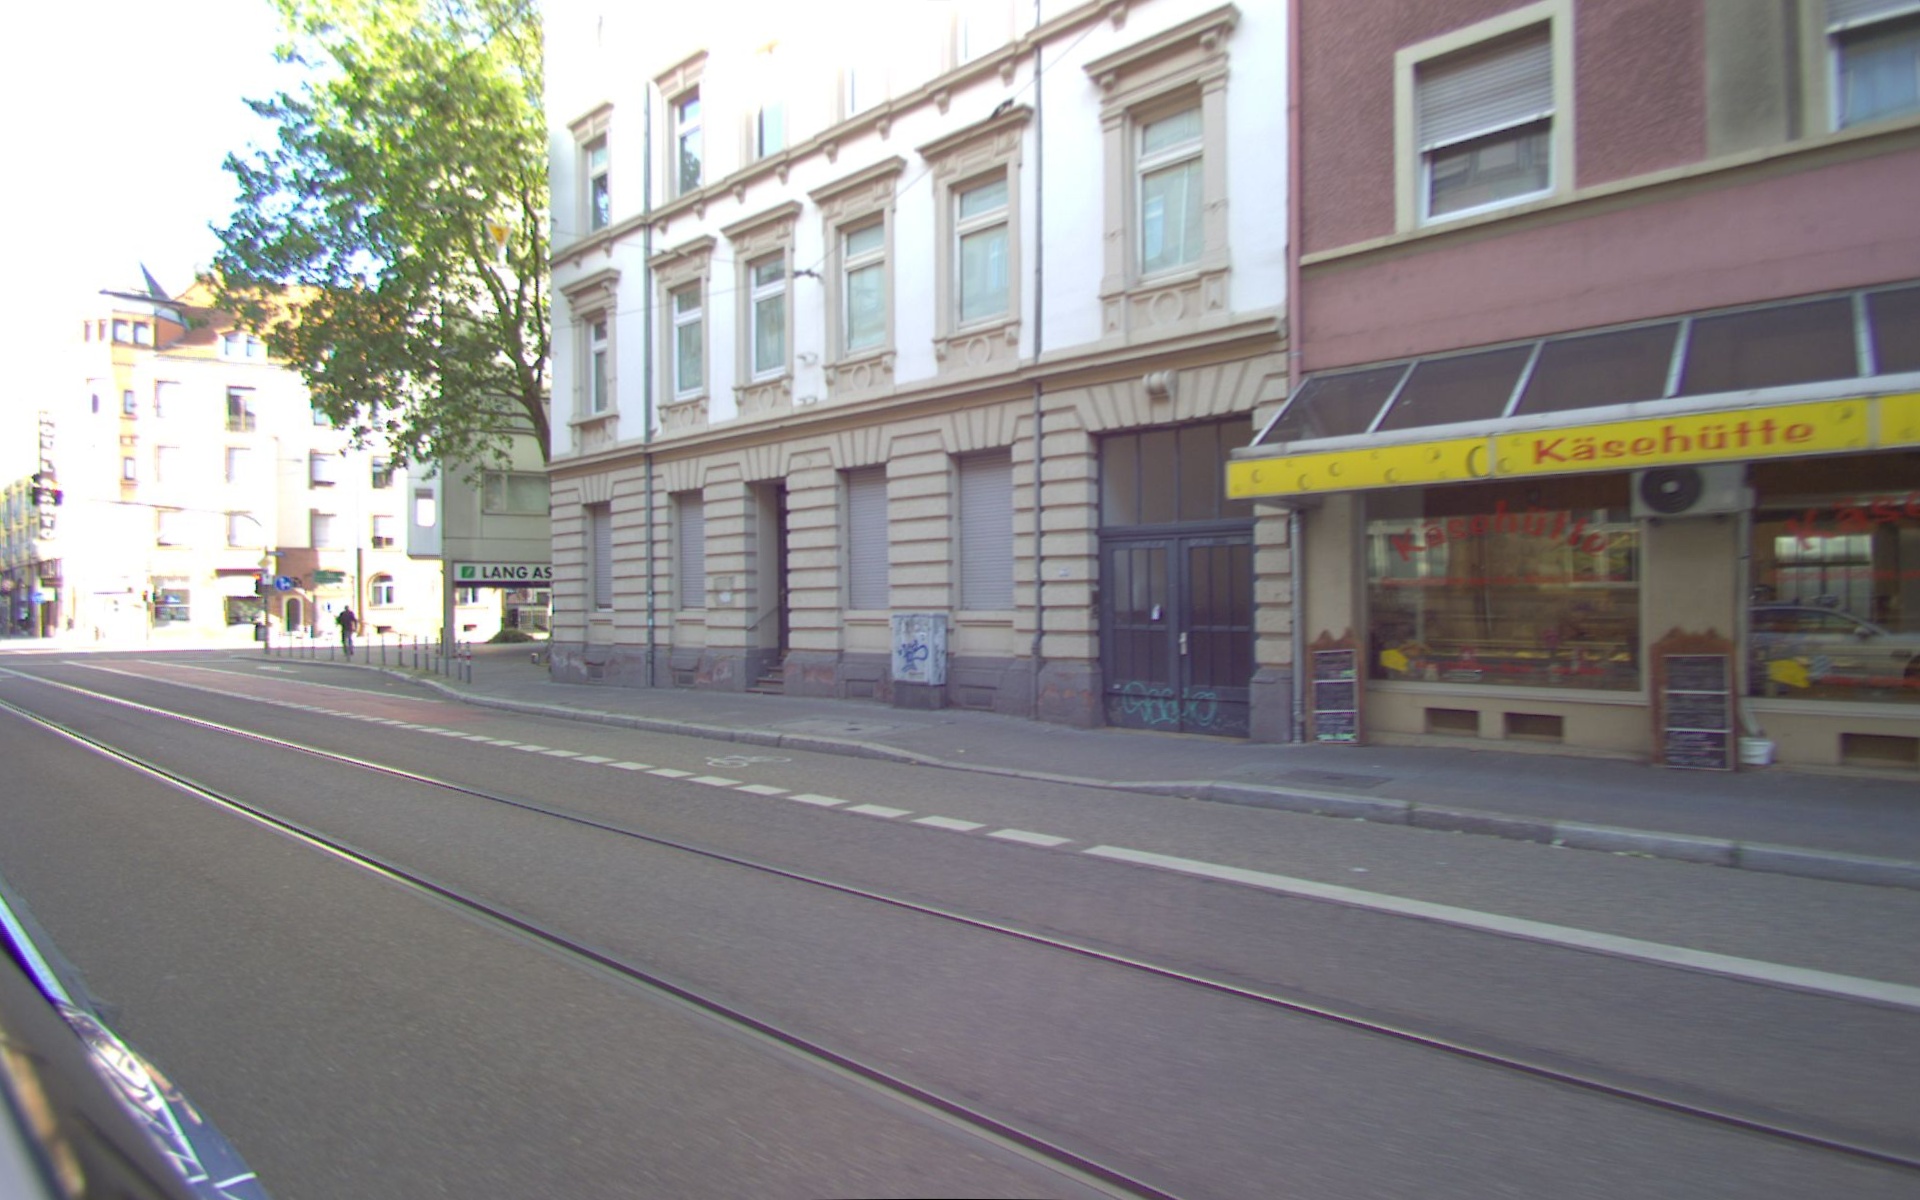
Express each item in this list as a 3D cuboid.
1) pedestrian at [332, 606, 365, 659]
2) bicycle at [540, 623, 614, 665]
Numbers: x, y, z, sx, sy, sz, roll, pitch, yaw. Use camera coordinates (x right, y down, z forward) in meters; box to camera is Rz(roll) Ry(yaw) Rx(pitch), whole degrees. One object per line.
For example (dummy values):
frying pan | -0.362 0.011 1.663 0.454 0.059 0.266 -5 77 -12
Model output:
pedestrian | -21.969 1.144 36.356 0.809 1.861 0.784 -1 0 44
bicycle | -11.356 1.292 30.015 2.012 1.134 0.708 -1 0 -22
